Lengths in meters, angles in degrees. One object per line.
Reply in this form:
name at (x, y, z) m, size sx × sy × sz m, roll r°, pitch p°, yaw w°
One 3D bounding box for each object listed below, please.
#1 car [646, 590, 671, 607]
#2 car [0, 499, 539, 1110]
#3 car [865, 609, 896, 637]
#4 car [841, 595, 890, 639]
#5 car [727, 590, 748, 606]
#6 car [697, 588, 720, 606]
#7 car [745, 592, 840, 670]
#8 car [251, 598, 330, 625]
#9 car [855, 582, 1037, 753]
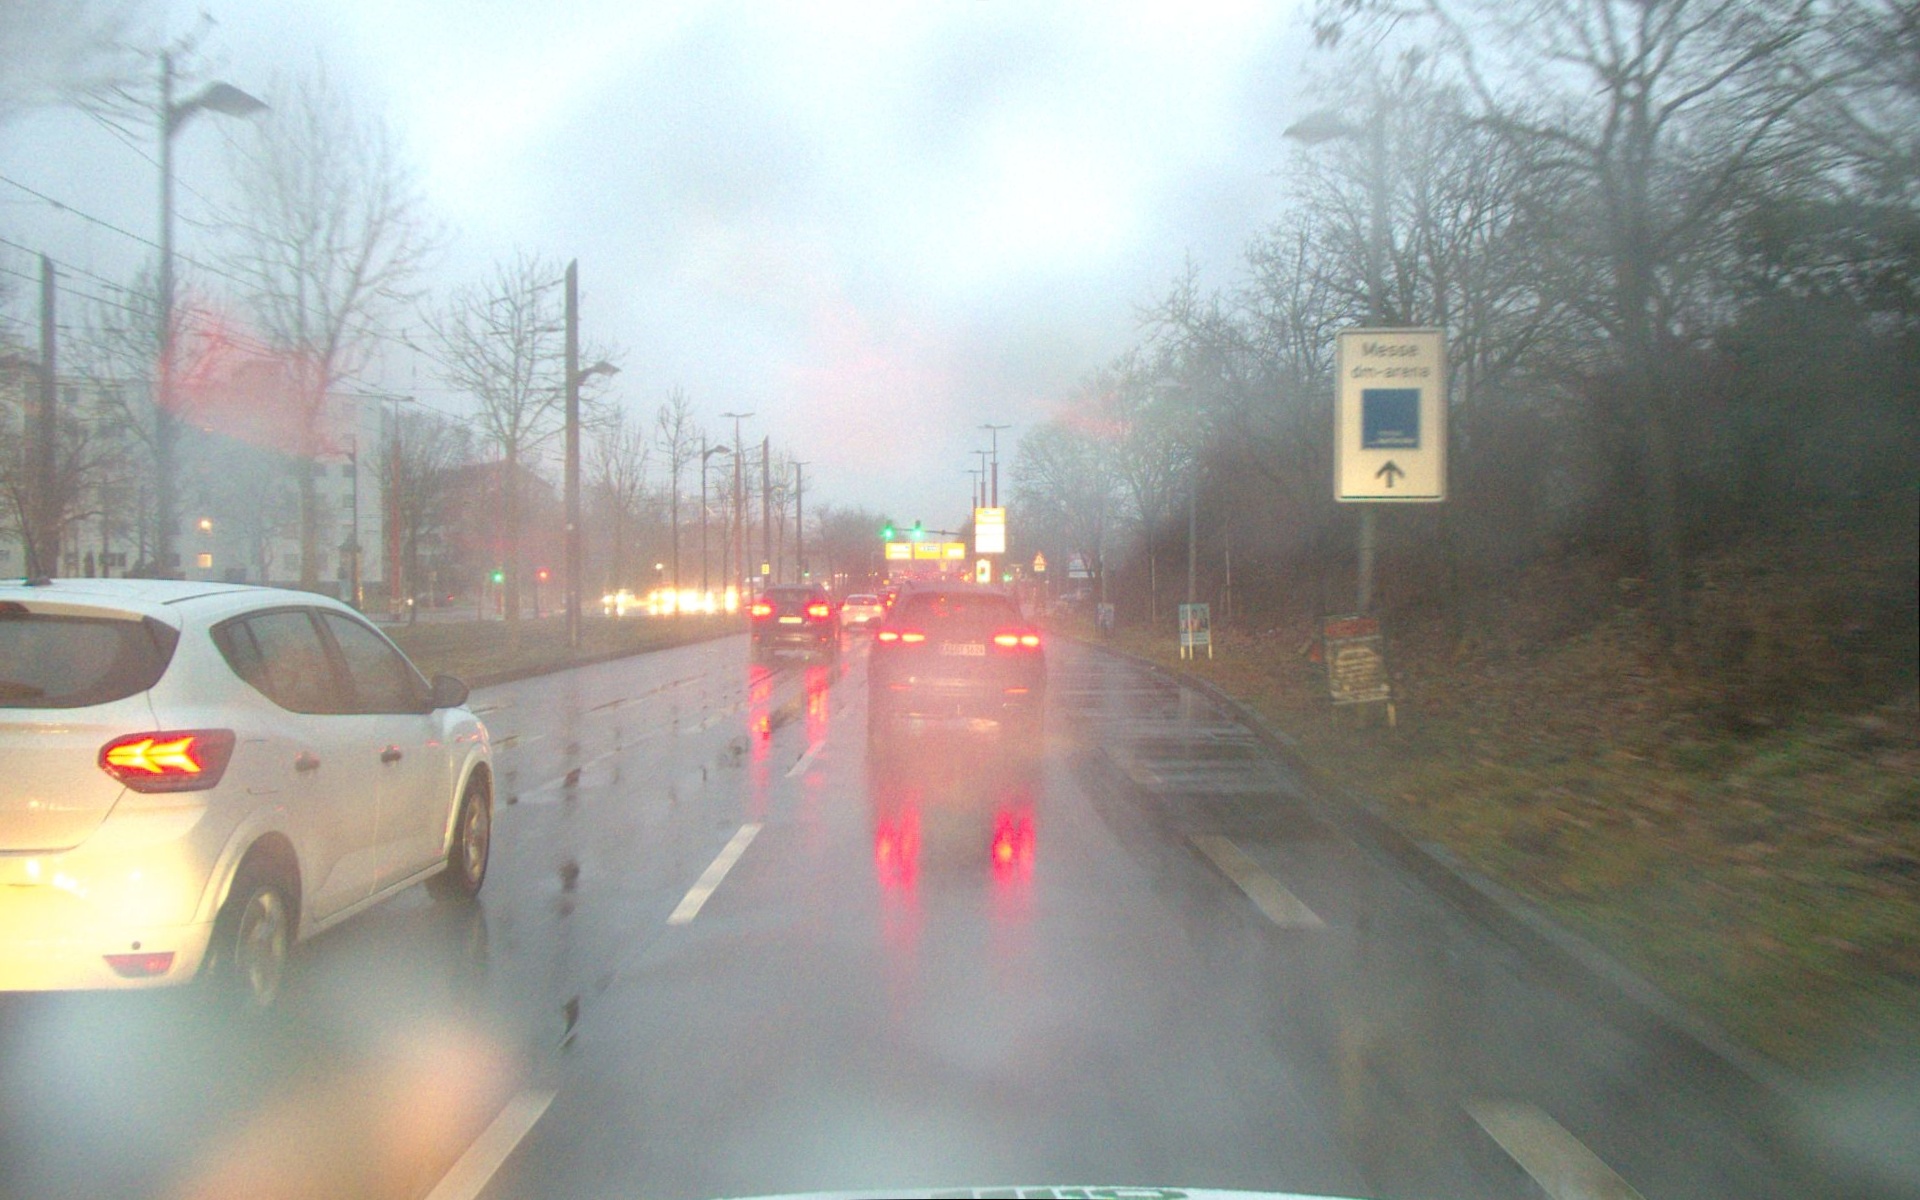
car at (-27.972, -0.136, 153.620) m, size 1.585 × 1.521 × 4.016 m, roll -1°, pitch 1°, yaw -1°
car at (-3.030, 0.555, 6.608) m, size 1.679 × 1.676 × 4.146 m, roll 0°, pitch 0°, yaw -1°
car at (-4.173, 1.204, 87.016) m, size 1.474 × 1.362 × 3.999 m, roll 0°, pitch 0°, yaw -1°
car at (-3.750, 0.659, 66.027) m, size 1.785 × 1.676 × 3.999 m, roll 0°, pitch 0°, yaw -1°
car at (-20.801, -0.240, 154.722) m, size 1.619 × 1.445 × 3.325 m, roll -1°, pitch 1°, yaw -2°
car at (-23.578, -0.285, 155.142) m, size 1.734 × 1.581 × 3.945 m, roll -1°, pitch 1°, yaw -3°
car at (-3.741, 0.655, 37.556) m, size 1.785 × 1.676 × 3.999 m, roll 0°, pitch 0°, yaw -1°
car at (-41.453, 0.712, 102.435) m, size 4.377 × 1.571 × 1.834 m, roll -1°, pitch 0°, yaw -29°
car at (-0.171, 0.650, 18.594) m, size 1.785 × 1.676 × 4.465 m, roll 0°, pitch 0°, yaw -1°
